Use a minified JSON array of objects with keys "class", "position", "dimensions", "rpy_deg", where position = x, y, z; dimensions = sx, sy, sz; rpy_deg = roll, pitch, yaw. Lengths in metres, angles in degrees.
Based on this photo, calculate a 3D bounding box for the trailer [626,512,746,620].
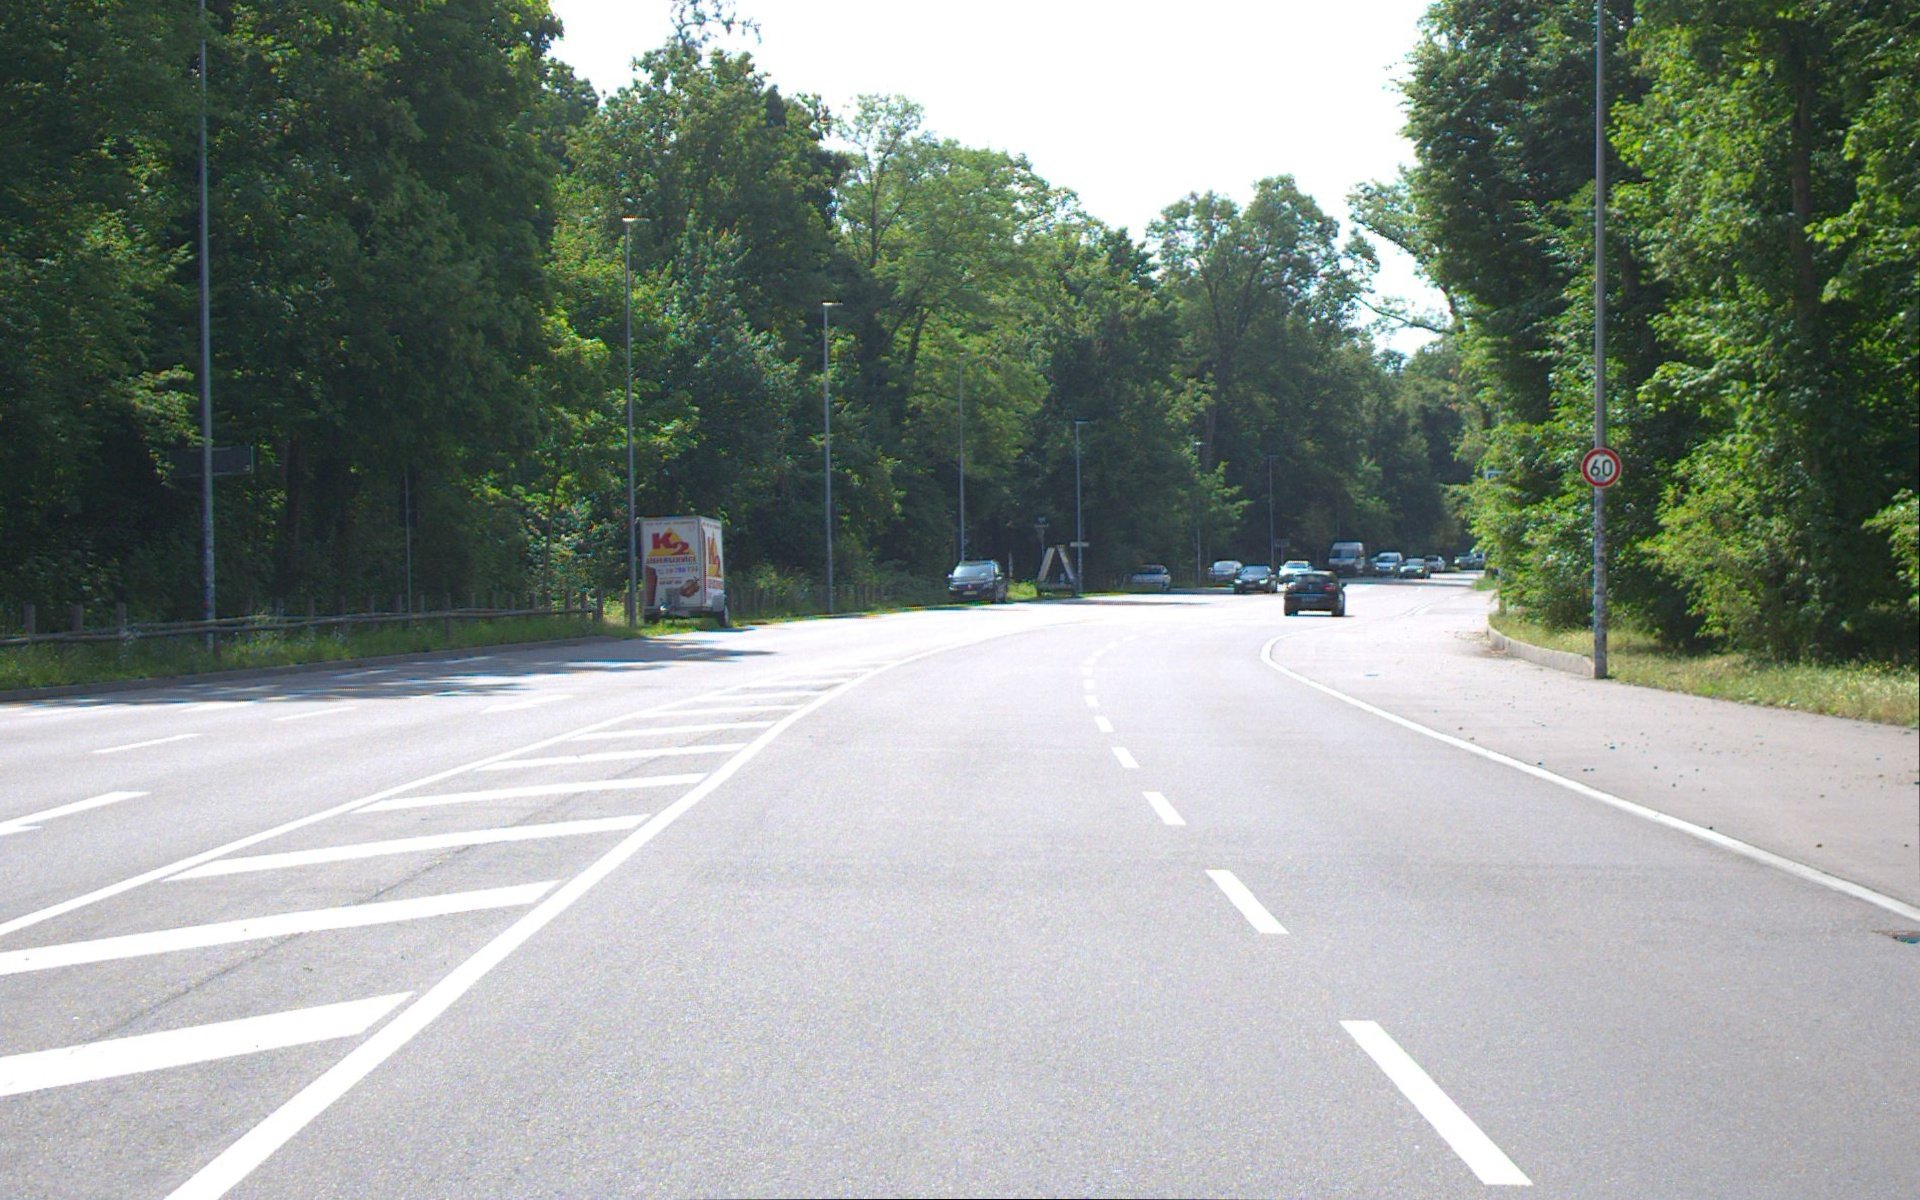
[{"class":"trailer","position":[-6.197,-0.774,78.175],"dimensions":[1.994,2.380,3.999],"rpy_deg":[0,0,6]}]

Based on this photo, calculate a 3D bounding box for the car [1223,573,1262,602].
[{"class":"car","position":[14.247,-0.620,173.416],"dimensions":[1.504,1.441,3.527],"rpy_deg":[1,0,12]}]

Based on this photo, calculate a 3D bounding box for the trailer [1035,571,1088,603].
[{"class":"trailer","position":[4.420,-0.558,149.124],"dimensions":[1.717,1.350,3.730],"rpy_deg":[1,0,11]}]

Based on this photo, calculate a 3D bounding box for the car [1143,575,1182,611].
[{"class":"car","position":[10.422,-0.376,176.775],"dimensions":[1.922,1.848,3.999],"rpy_deg":[0,0,4]}]

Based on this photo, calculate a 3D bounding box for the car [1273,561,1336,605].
[{"class":"car","position":[11.076,-0.555,110.383],"dimensions":[1.598,1.373,3.974],"rpy_deg":[1,0,11]}]

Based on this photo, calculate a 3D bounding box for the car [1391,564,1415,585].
[{"class":"car","position":[31.628,-1.809,245.363],"dimensions":[1.504,1.441,3.528],"rpy_deg":[0,0,10]}]

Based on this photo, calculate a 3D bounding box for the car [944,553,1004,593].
[{"class":"car","position":[0.516,-0.989,126.579],"dimensions":[1.504,1.441,3.527],"rpy_deg":[1,0,12]}]
